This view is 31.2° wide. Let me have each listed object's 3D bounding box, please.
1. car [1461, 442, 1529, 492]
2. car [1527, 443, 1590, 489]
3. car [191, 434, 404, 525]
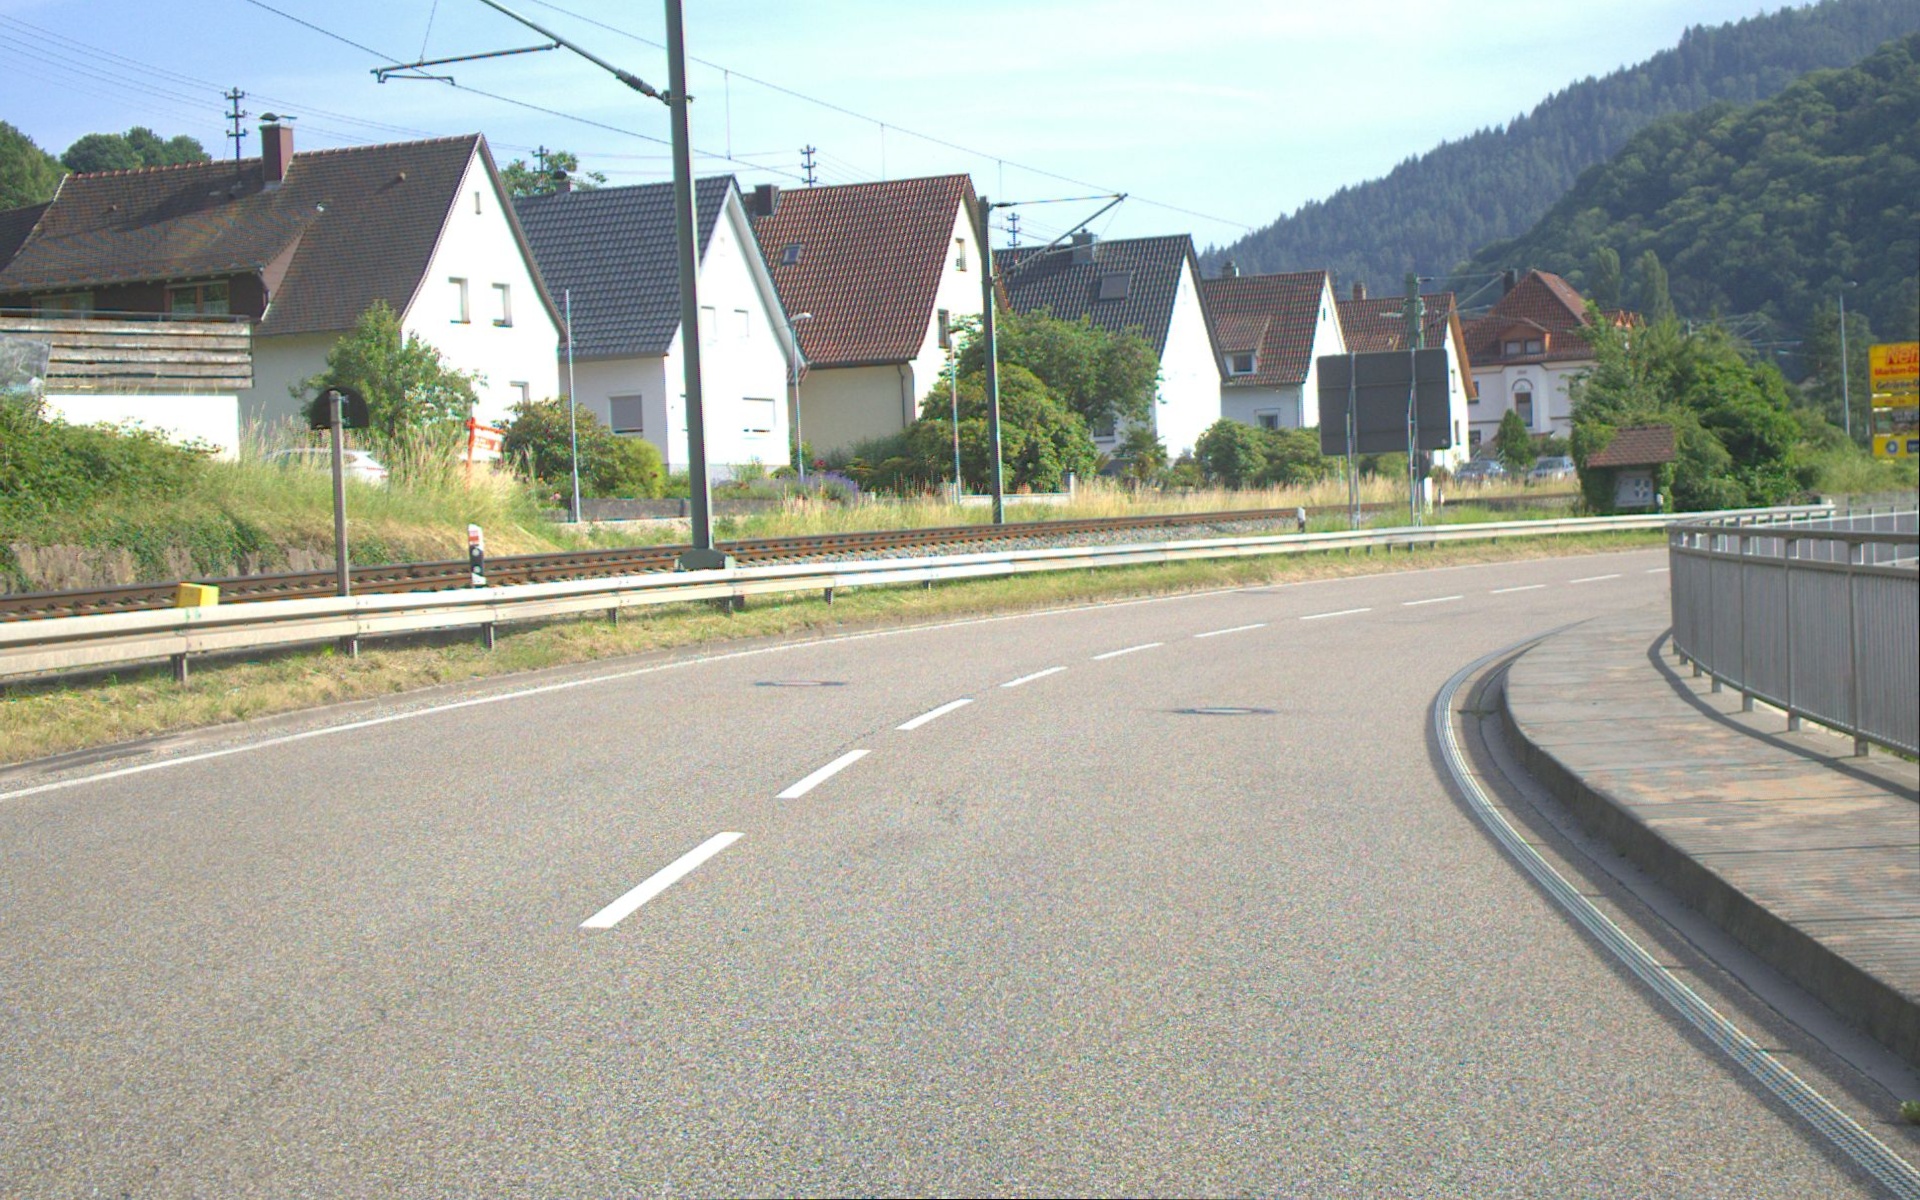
[{"bbox_3d":[22.614,-5.604,145.211,1.996,1.875,3.996,6,3,20],"label":"car"},{"bbox_3d":[27.517,-6.155,157.985,1.996,1.875,3.996,6,3,20],"label":"car"},{"bbox_3d":[-13.328,-2.436,69.151,4.012,1.668,1.650,-2,5,-17],"label":"car"}]
